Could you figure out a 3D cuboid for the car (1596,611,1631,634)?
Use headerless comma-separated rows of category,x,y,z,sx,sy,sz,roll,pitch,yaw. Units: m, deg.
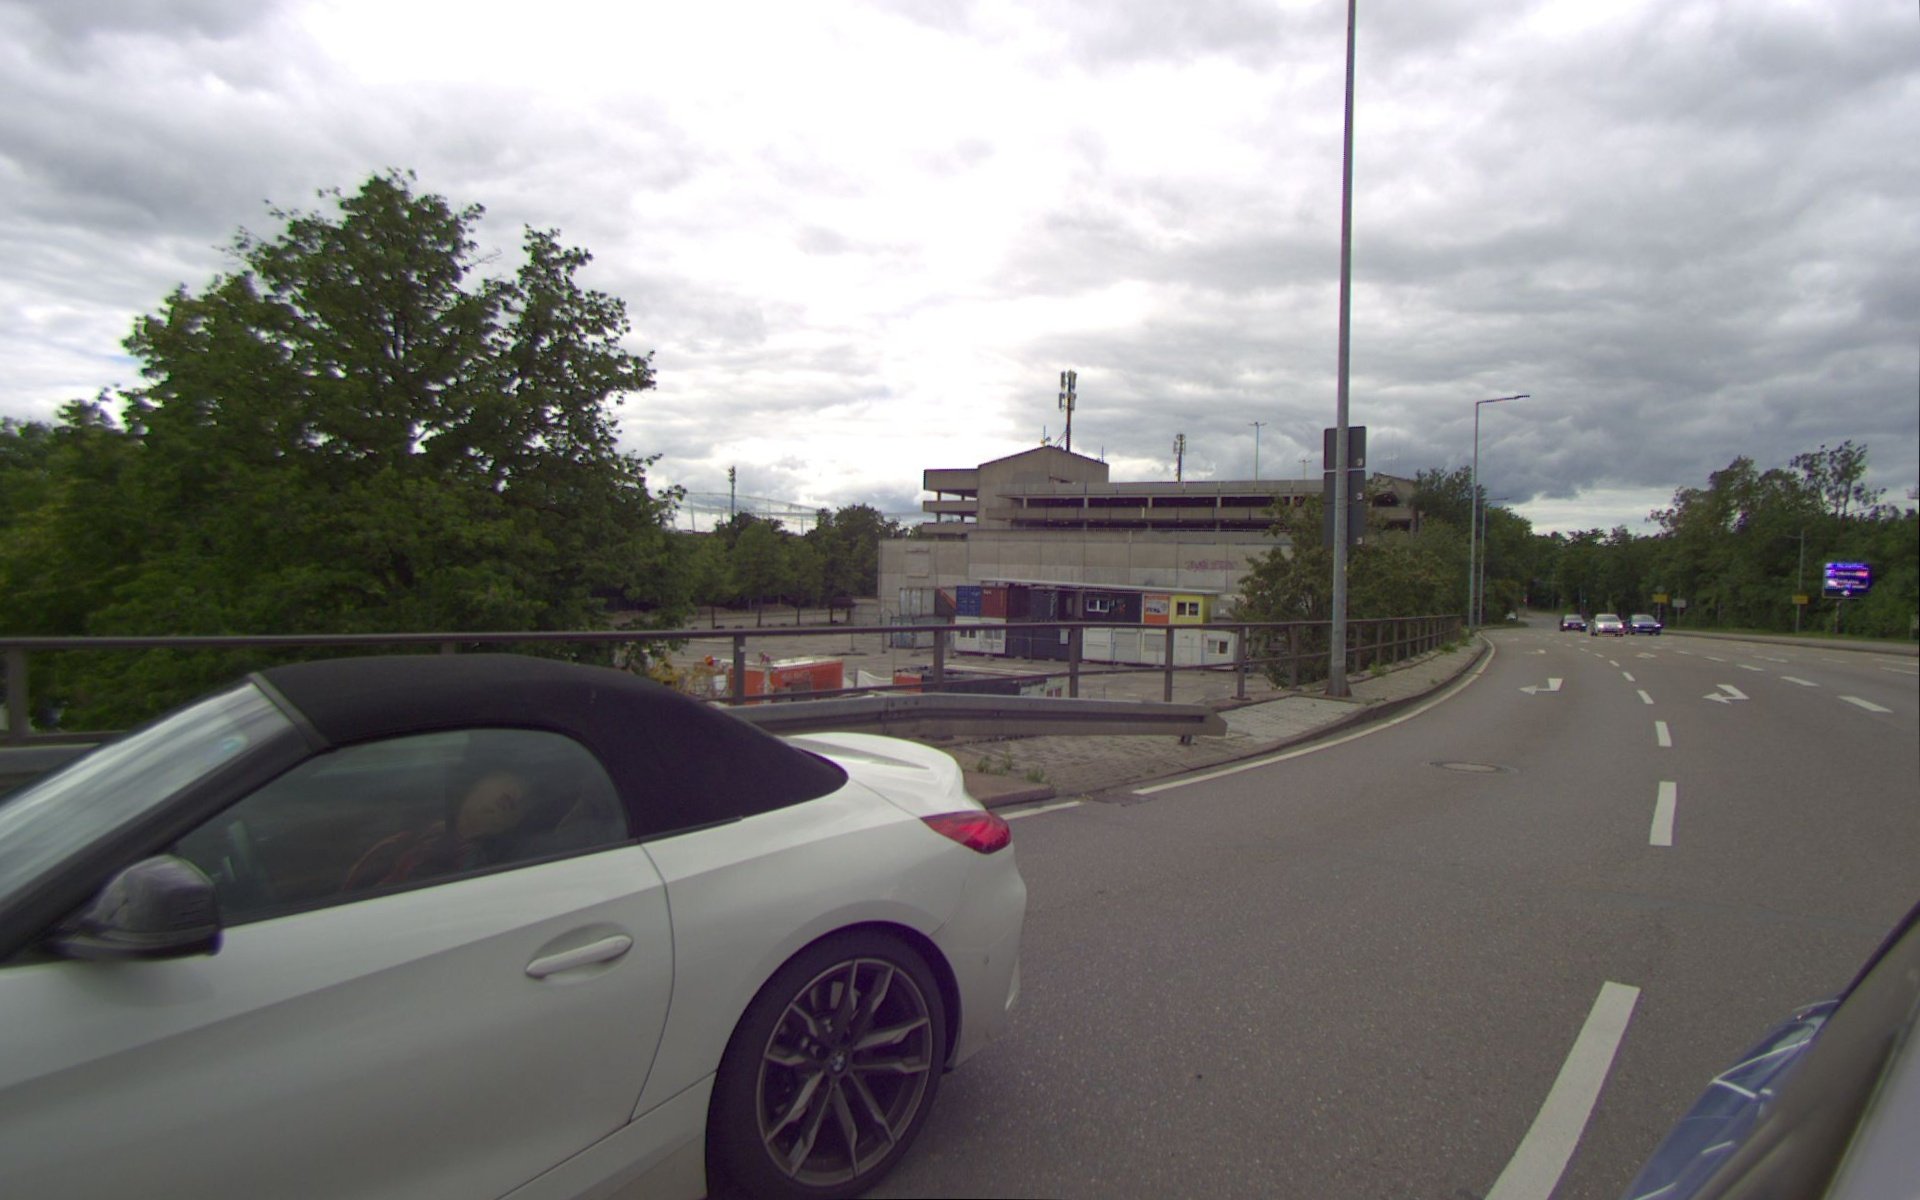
car,43.105,1.458,66.782,1.595,1.434,3.556,1,0,28

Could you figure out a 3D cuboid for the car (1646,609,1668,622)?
car,82.748,1.817,120.188,1.688,1.482,3.961,-1,0,28

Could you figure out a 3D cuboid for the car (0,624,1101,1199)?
car,-1.772,0.757,2.367,4.186,1.308,1.809,0,0,-39

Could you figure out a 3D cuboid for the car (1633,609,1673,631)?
car,50.185,1.423,73.377,1.826,1.434,4.535,1,0,28

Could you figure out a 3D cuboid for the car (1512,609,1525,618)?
car,95.541,2.320,173.198,1.848,1.434,4.297,1,0,27

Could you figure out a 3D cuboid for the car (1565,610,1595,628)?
car,52.842,1.623,86.290,1.849,1.434,4.296,1,0,28
